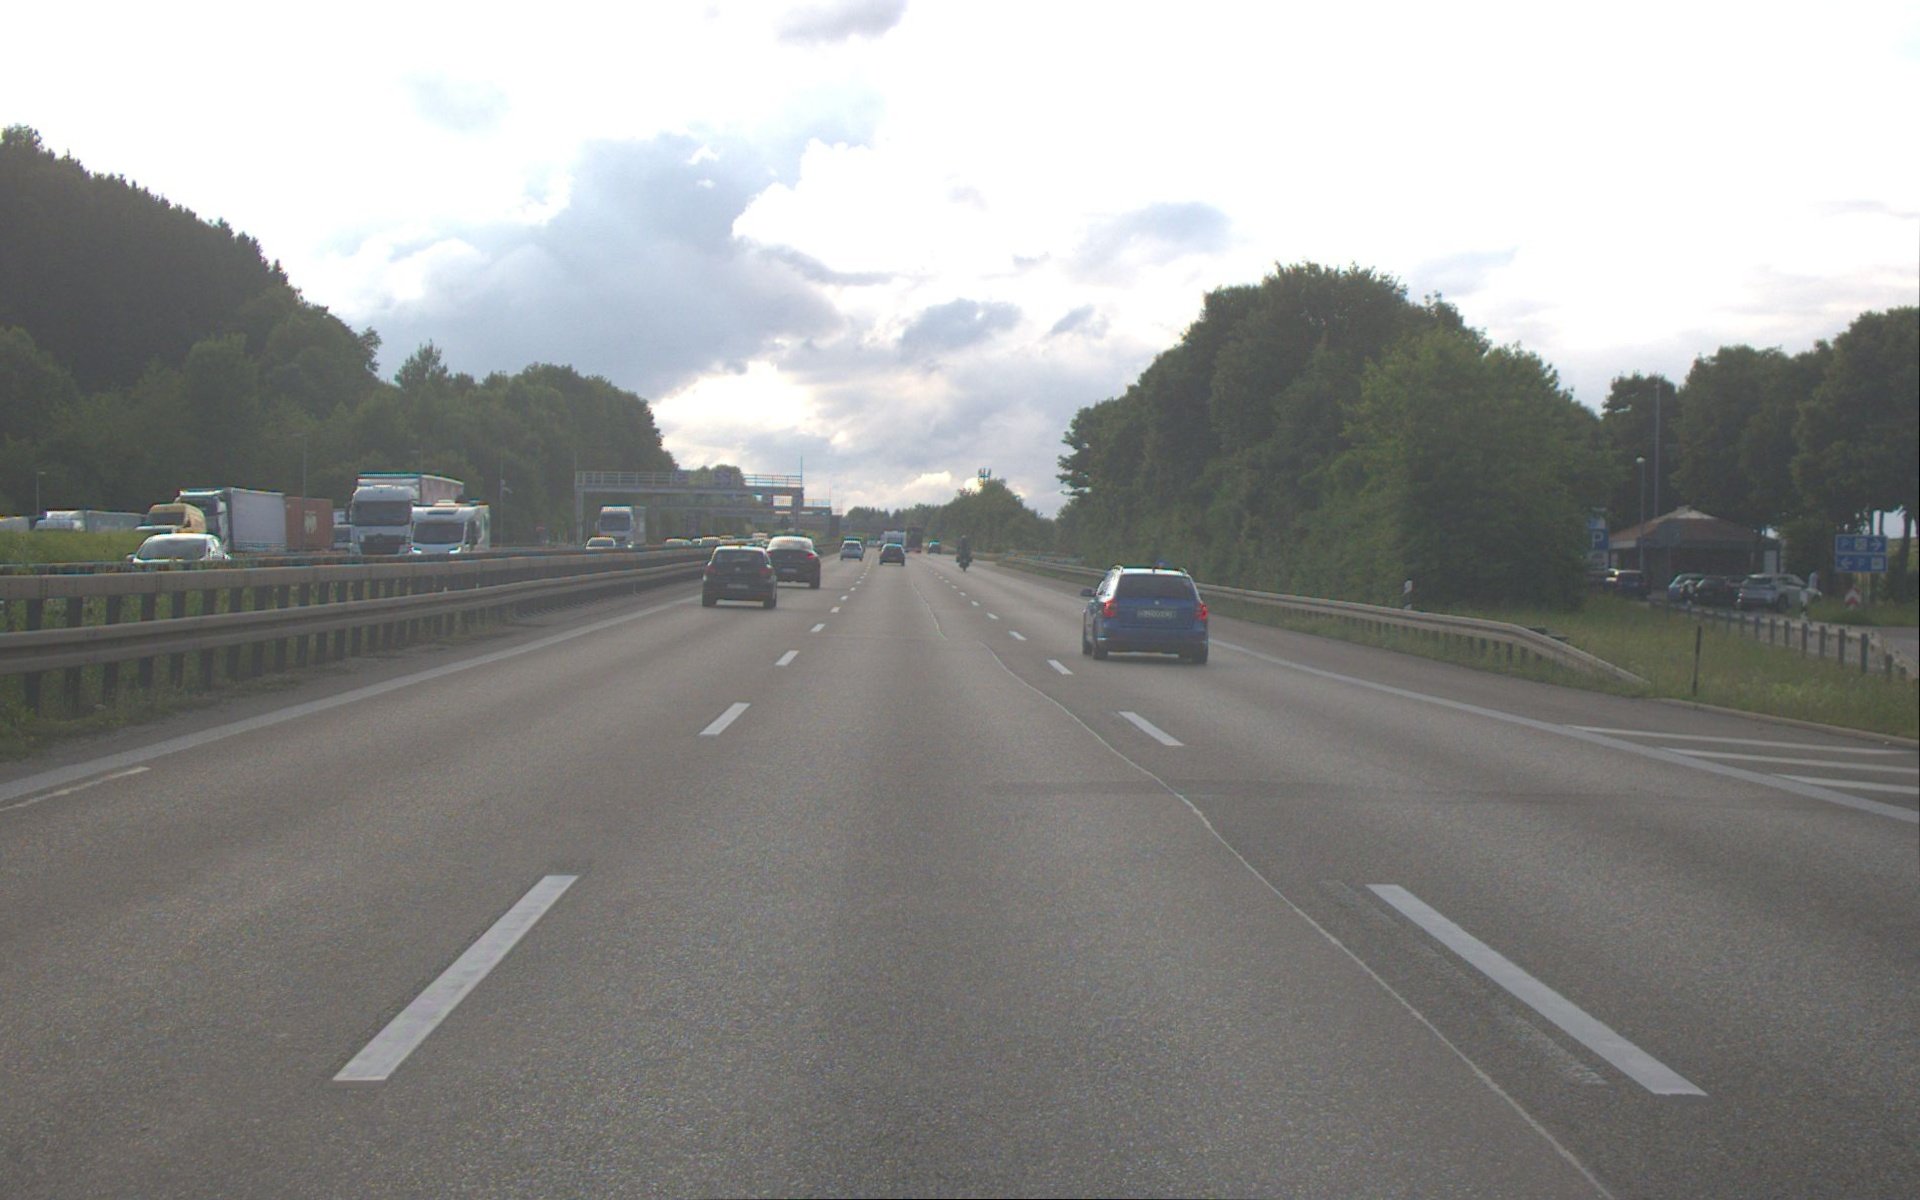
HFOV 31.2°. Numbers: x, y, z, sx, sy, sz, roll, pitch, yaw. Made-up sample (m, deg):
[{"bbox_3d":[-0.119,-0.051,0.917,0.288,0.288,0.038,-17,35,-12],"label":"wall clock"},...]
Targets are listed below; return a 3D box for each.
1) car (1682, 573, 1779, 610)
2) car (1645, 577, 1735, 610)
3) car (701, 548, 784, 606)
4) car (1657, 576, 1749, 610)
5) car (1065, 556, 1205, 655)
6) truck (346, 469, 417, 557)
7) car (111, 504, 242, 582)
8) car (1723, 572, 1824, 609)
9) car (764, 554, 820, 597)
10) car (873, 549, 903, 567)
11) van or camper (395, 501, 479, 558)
[{"bbox_3d":[33.820,-0.360,150.815,4.297,1.550,1.989,0,0,-41],"label":"car"},{"bbox_3d":[34.511,-0.305,162.447,4.297,1.550,1.989,0,0,-41],"label":"car"},{"bbox_3d":[-5.122,-0.562,81.295,1.538,1.343,3.676,0,1,3],"label":"car"},{"bbox_3d":[34.274,-0.322,158.574,4.297,1.550,1.989,0,0,-41],"label":"car"},{"bbox_3d":[2.657,0.059,53.087,1.766,1.428,4.001,-1,1,-2],"label":"car"},{"bbox_3d":[-23.515,-3.503,139.924,1.993,3.402,6.739,0,0,-2],"label":"truck"},{"bbox_3d":[-17.018,-1.216,74.861,1.993,1.618,4.000,0,0,-1],"label":"car"},{"bbox_3d":[34.180,-0.388,144.395,4.297,1.550,1.989,0,0,-41],"label":"car"},{"bbox_3d":[-5.692,-0.842,116.759,1.565,1.375,4.000,-1,1,2],"label":"car"},{"bbox_3d":[-4.994,-2.934,238.405,1.750,1.218,4.001,-1,1,-5],"label":"car"},{"bbox_3d":[-18.560,-2.493,122.136,2.078,1.923,4.344,-1,1,3],"label":"van or camper"}]
